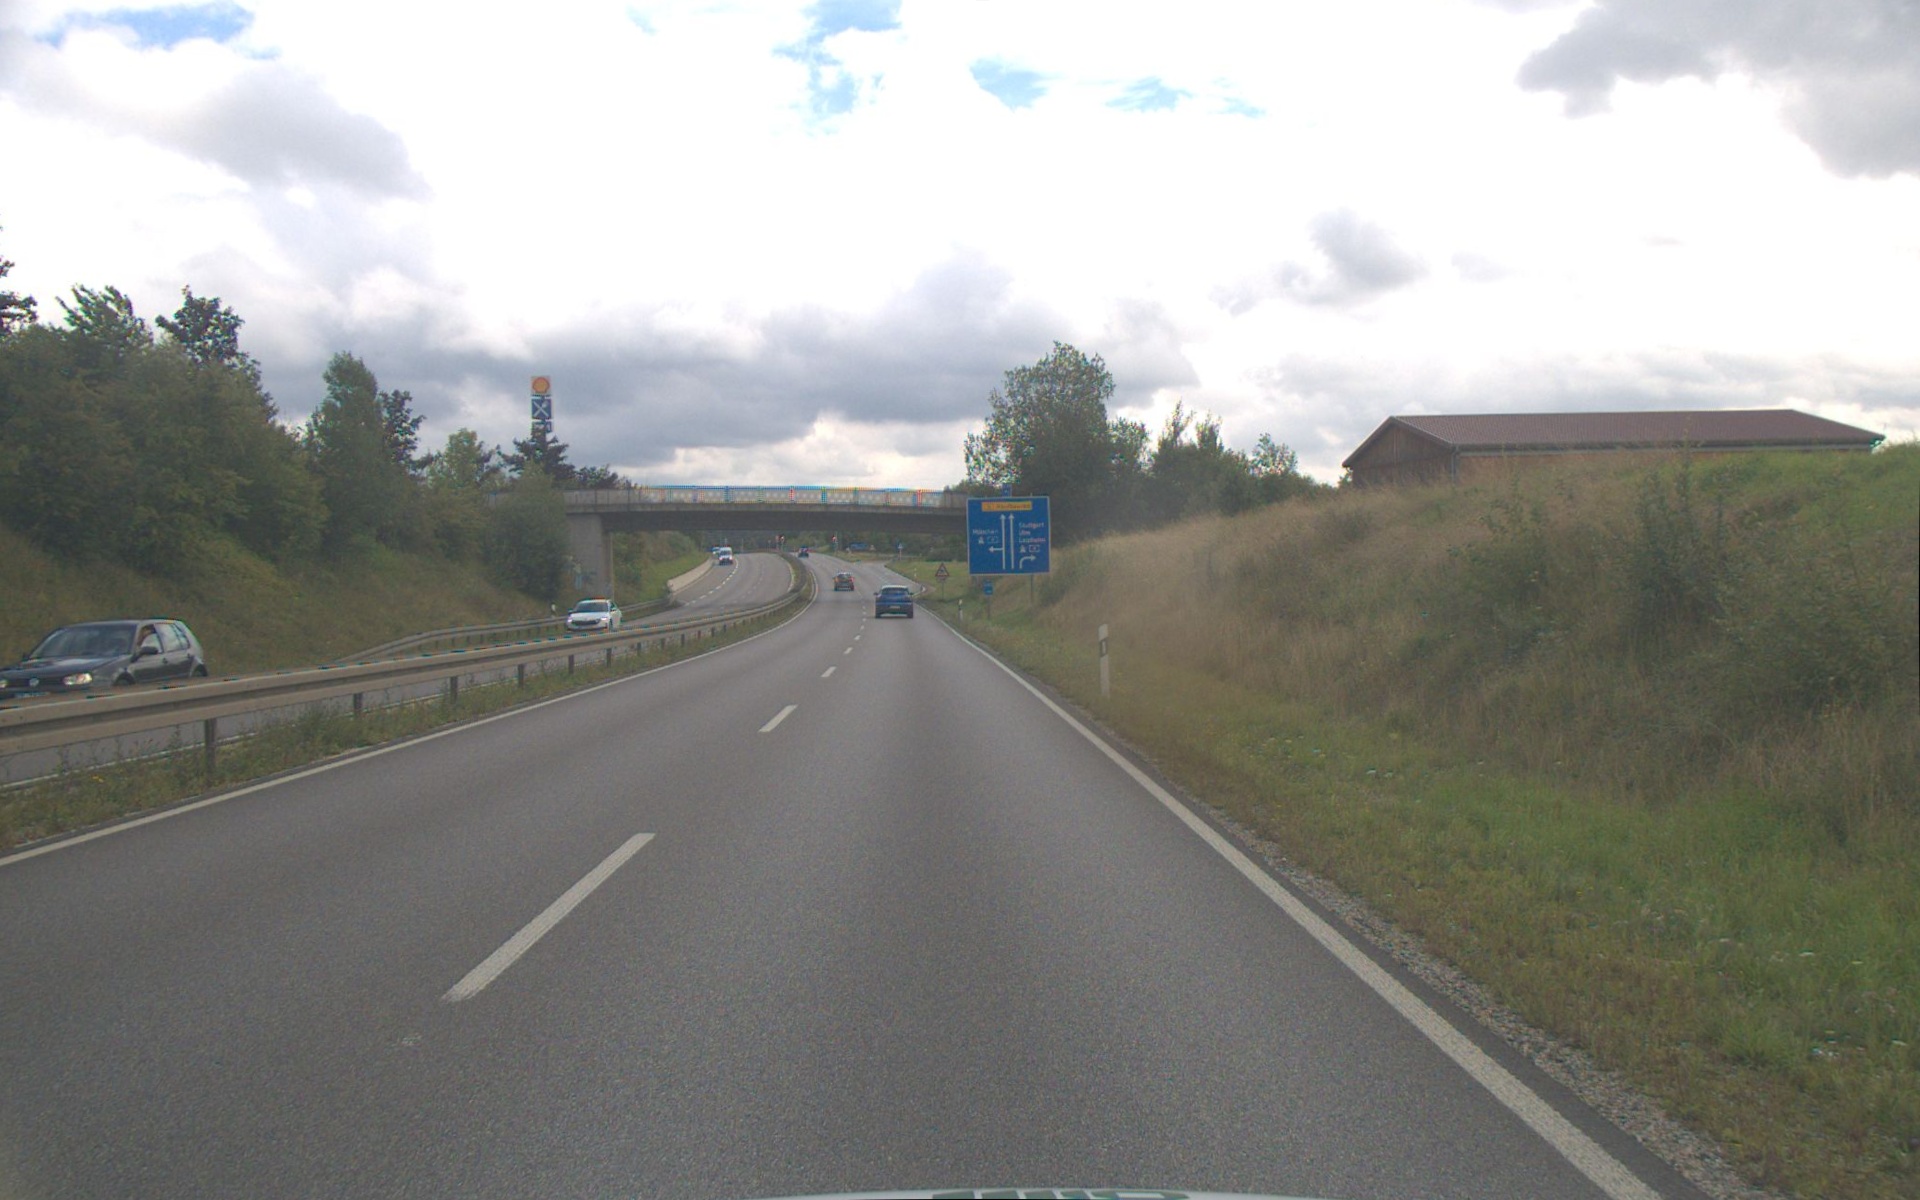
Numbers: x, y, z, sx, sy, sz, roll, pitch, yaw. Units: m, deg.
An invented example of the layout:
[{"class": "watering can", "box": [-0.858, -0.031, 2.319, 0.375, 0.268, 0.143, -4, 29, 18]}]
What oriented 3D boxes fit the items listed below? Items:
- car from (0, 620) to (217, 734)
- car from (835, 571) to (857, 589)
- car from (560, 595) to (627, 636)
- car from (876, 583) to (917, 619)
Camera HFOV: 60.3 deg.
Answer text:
[{"class": "car", "box": [-12.691, 1.035, 23.725, 1.953, 1.327, 4.821, -1, 1, -1]}, {"class": "car", "box": [-9.982, -1.734, 145.037, 1.879, 1.478, 4.361, -1, 1, -3]}, {"class": "car", "box": [-15.000, 0.608, 67.916, 1.953, 1.478, 3.999, -1, 1, -2]}, {"class": "car", "box": [-3.196, 0.022, 83.482, 1.992, 1.689, 4.542, 0, 2, -2]}]
